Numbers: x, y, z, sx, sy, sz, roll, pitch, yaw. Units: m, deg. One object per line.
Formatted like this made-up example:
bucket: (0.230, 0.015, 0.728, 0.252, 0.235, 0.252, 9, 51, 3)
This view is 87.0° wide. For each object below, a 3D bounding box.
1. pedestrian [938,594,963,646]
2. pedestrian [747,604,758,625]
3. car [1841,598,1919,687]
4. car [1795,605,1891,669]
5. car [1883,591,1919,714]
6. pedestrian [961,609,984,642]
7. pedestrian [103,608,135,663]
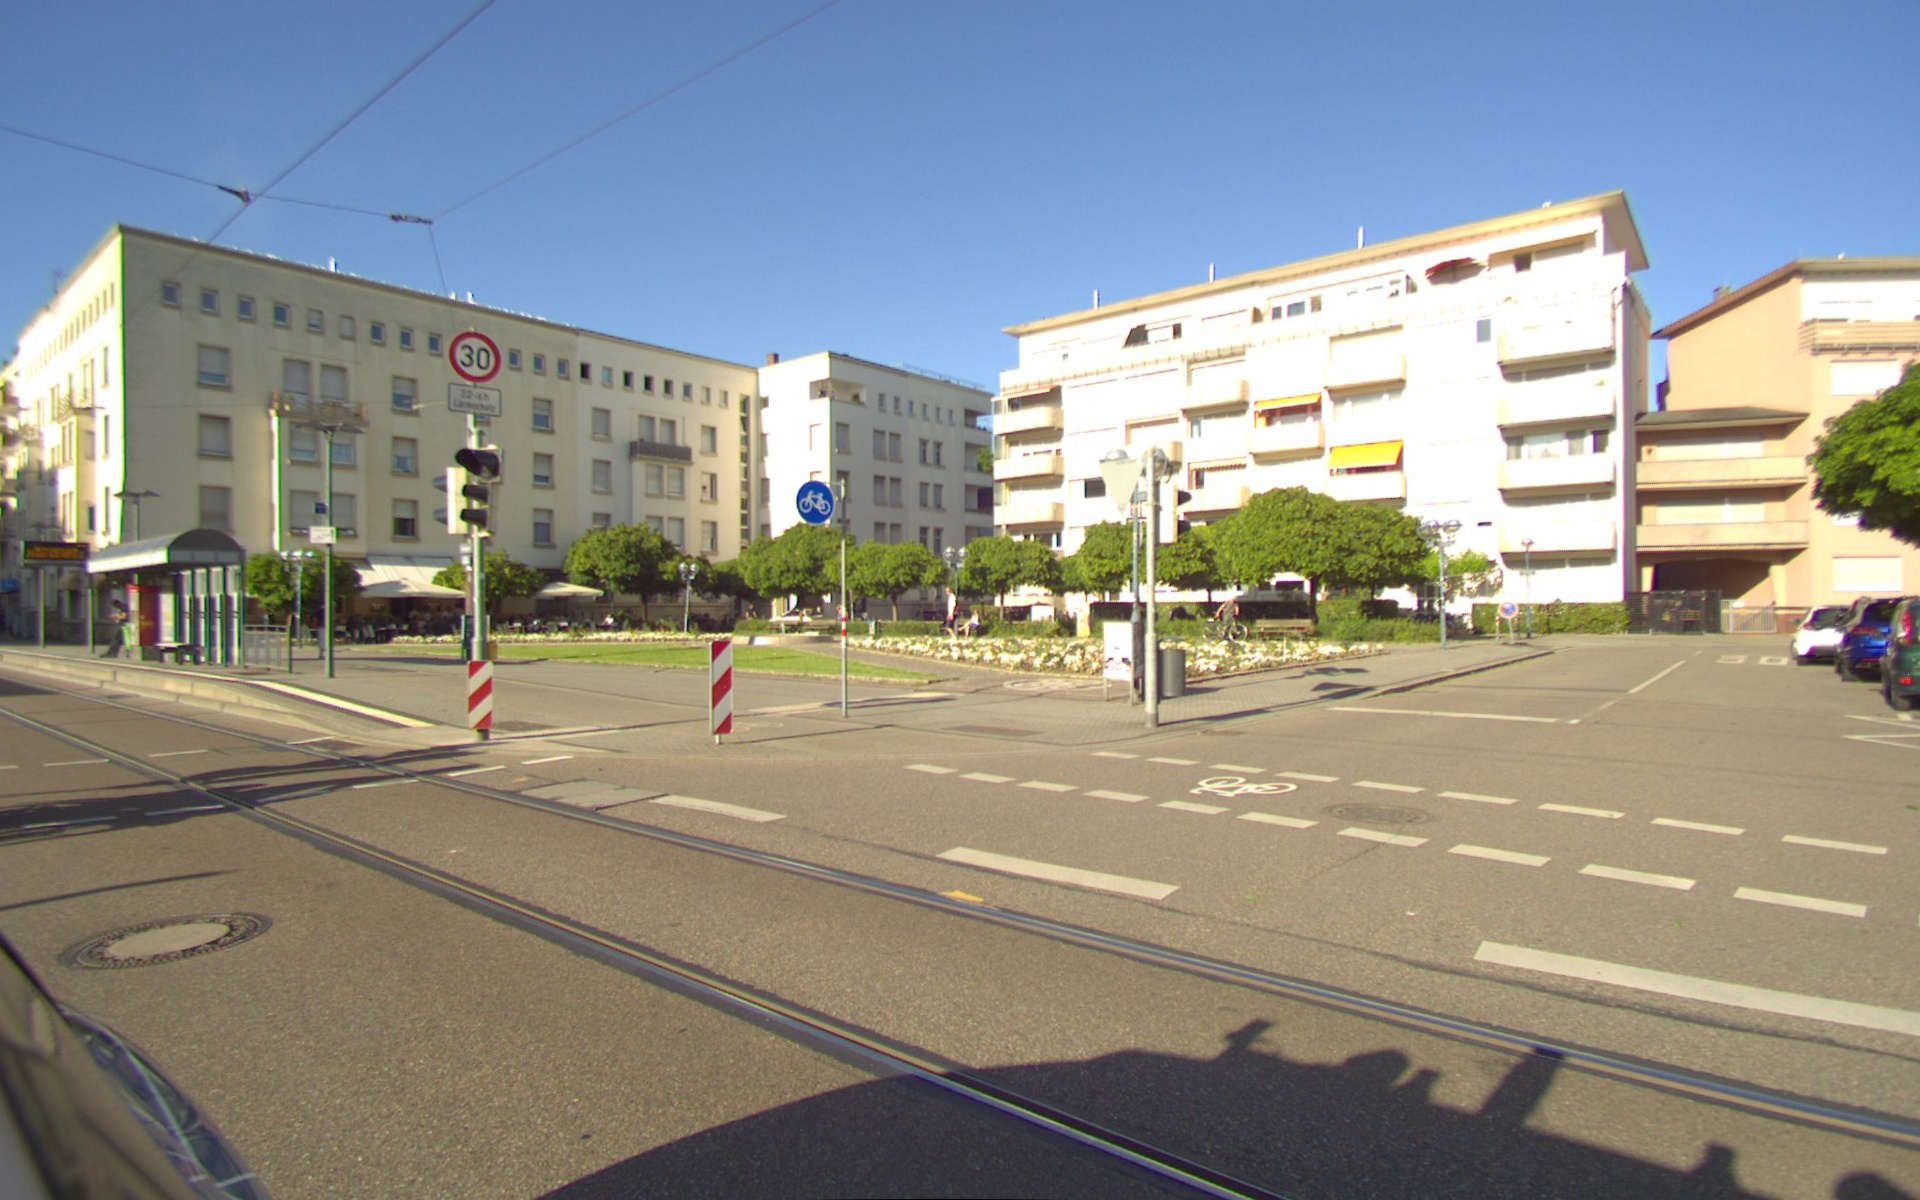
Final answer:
pedestrian: (-0.318, 0.657, 33.653, 0.827, 1.708, 0.667, -1, -1, 1)
pedestrian: (-12.285, 0.854, 59.875, 0.499, 1.231, 0.396, 0, -1, -45)
car: (18.791, 0.777, 20.097, 1.757, 1.628, 3.940, -1, -1, 39)
car: (21.970, 0.864, 25.295, 1.621, 1.460, 3.940, -1, -1, 39)
car: (15.278, 0.735, 15.347, 1.676, 1.723, 3.939, -1, -1, 40)
pedestrian: (0.554, 1.101, 44.377, 0.667, 1.428, 0.828, -1, -1, 38)
pedestrian: (-23.512, 0.979, 28.289, 0.609, 1.502, 0.545, -1, -1, 33)
